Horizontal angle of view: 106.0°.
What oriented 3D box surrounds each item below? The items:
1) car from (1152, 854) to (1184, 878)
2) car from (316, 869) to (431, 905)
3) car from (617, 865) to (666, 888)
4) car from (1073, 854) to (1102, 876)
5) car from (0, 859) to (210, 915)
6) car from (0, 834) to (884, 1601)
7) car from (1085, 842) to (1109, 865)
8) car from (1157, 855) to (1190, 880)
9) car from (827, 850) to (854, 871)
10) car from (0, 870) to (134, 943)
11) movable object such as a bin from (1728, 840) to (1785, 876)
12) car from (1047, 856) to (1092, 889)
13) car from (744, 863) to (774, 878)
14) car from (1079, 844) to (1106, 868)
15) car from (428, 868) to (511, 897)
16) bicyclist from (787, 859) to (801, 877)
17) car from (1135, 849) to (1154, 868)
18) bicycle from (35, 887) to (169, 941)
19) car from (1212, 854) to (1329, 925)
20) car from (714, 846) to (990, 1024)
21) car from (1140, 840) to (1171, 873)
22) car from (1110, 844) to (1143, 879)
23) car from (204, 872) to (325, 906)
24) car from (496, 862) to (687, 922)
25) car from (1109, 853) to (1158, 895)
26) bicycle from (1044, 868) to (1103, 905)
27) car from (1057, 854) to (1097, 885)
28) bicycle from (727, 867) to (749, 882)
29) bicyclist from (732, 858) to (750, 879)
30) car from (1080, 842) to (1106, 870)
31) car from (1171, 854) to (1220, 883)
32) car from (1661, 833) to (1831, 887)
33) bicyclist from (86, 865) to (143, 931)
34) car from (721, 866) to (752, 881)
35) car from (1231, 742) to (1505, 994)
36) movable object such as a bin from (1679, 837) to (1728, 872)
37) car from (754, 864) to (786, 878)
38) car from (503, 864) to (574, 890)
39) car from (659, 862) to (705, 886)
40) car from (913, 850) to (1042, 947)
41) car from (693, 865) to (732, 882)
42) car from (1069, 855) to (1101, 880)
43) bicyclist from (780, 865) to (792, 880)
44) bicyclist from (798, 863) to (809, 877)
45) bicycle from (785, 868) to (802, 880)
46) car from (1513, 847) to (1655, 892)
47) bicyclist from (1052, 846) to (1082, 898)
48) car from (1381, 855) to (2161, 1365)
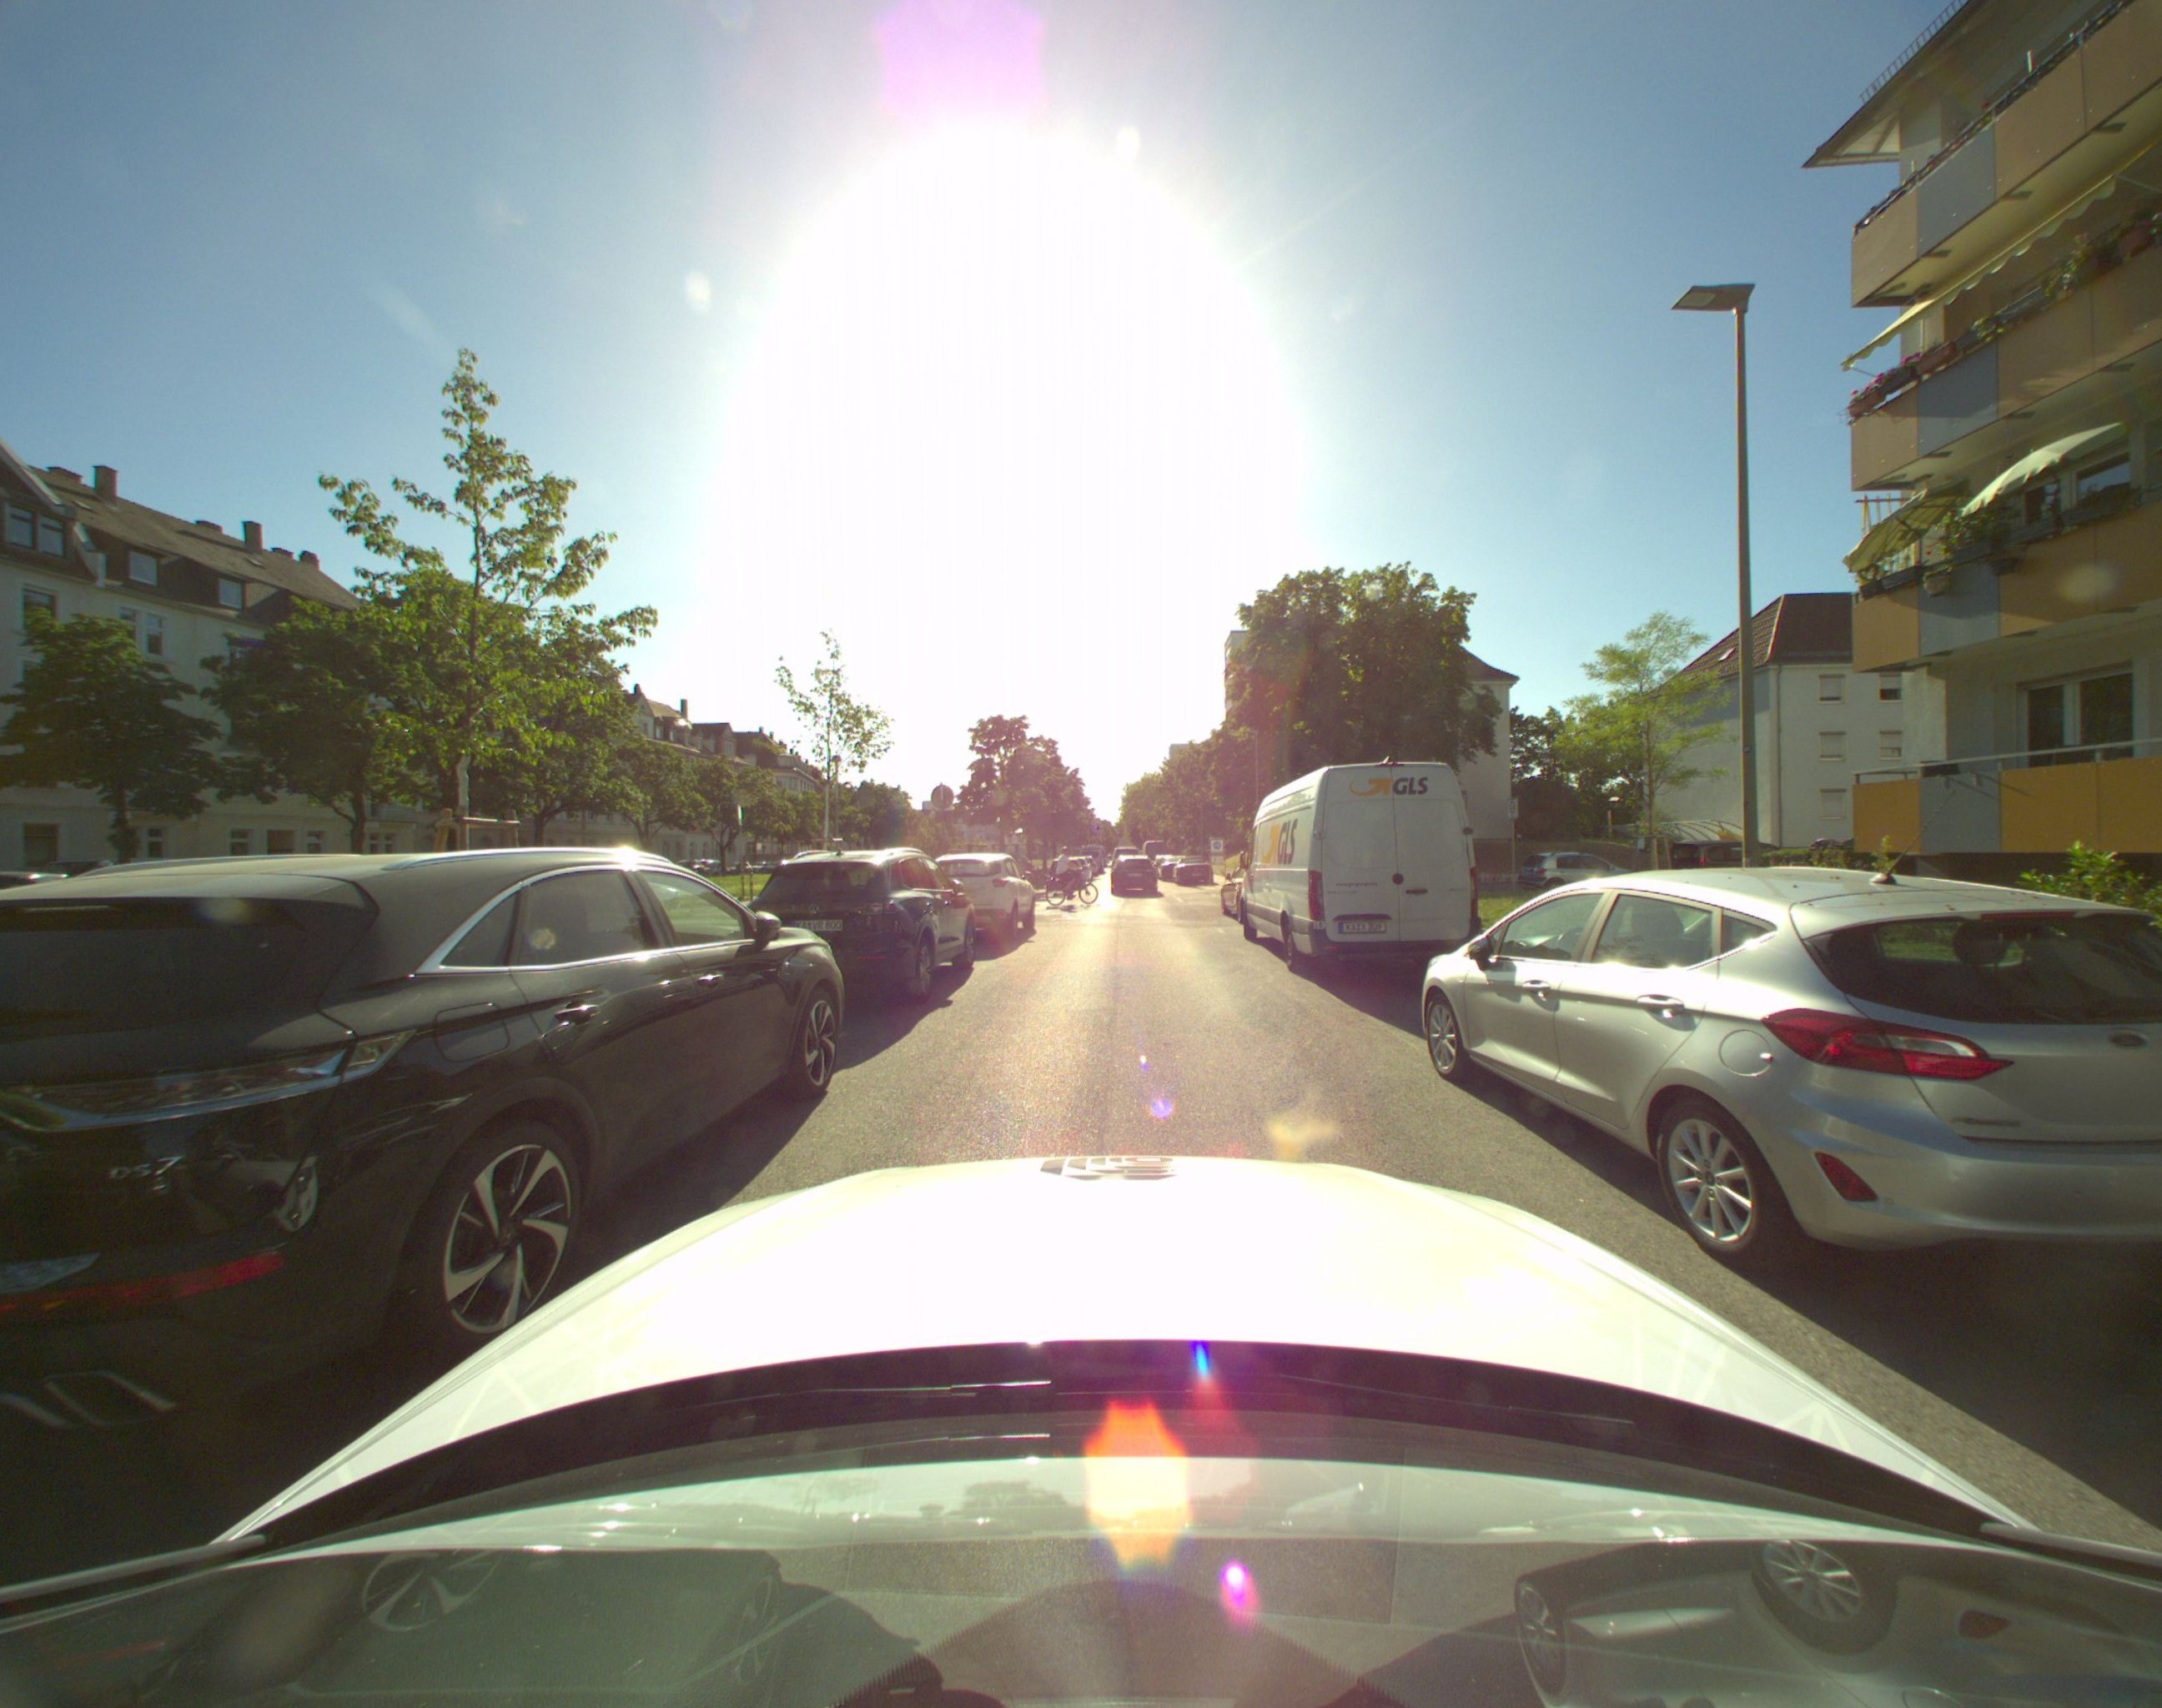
[{"bbox_3d":[5.772,0.767,54.584,1.773,1.487,4.033,-1,0,1],"label":"car"},{"bbox_3d":[-35.531,1.618,41.083,1.688,1.561,4.697,-1,0,0],"label":"car"},{"bbox_3d":[-34.572,1.755,64.220,1.626,1.686,4.081,-1,0,0],"label":"car"},{"bbox_3d":[0.522,0.803,60.988,1.825,1.500,4.131,-1,0,4],"label":"car"},{"bbox_3d":[-36.345,1.153,30.416,2.075,1.872,5.098,-1,0,0],"label":"car"},{"bbox_3d":[-2.622,0.800,4.117,1.812,1.610,4.742,-3,0,3],"label":"car"},{"bbox_3d":[2.069,-0.062,101.325,2.605,2.645,6.121,-1,0,4],"label":"car"},{"bbox_3d":[5.443,0.774,48.213,1.771,1.371,4.131,-1,0,4],"label":"car"},{"bbox_3d":[-32.774,0.874,111.030,1.909,2.744,5.624,-1,0,0],"label":"car"},{"bbox_3d":[-25.370,1.233,18.660,4.351,1.576,1.915,-1,0,-22],"label":"car"},{"bbox_3d":[29.026,0.169,35.026,1.256,1.478,1.498,-1,0,2],"label":"movable object such as a bin"},{"bbox_3d":[-0.480,0.864,38.745,1.740,1.425,3.920,-3,-1,4],"label":"car"},{"bbox_3d":[-38.824,1.952,98.190,1.853,1.749,4.002,-1,0,2],"label":"car"},{"bbox_3d":[0.984,0.198,69.452,2.090,1.942,4.130,-1,0,3],"label":"car"},{"bbox_3d":[-35.310,1.613,47.148,1.688,1.526,4.081,-1,0,0],"label":"car"},{"bbox_3d":[-30.317,1.469,85.998,0.938,1.837,1.450,-2,-1,1],"label":"bicyclist"},{"bbox_3d":[7.718,0.541,99.433,2.154,2.292,5.268,-1,0,2],"label":"car"},{"bbox_3d":[-25.870,1.551,21.589,2.166,1.258,0.706,-1,0,-41],"label":"bicycle"},{"bbox_3d":[4.510,0.776,20.093,1.951,1.481,4.501,-3,0,2],"label":"car"},{"bbox_3d":[-2.475,0.784,10.209,1.835,1.638,4.718,-3,0,3],"label":"car"},{"bbox_3d":[6.327,0.187,69.758,2.156,2.689,5.415,-1,0,0],"label":"car"},{"bbox_3d":[2.909,0.456,51.299,1.886,1.991,4.014,-3,0,4],"label":"car"},{"bbox_3d":[-35.742,1.503,35.777,1.688,1.279,3.526,-1,0,0],"label":"car"},{"bbox_3d":[-13.706,1.018,23.137,4.351,1.409,1.907,-1,2,-22],"label":"car"},{"bbox_3d":[2.078,0.733,31.916,1.771,1.531,4.004,0,0,4],"label":"car"},{"bbox_3d":[-0.237,1.016,25.722,1.765,1.127,0.659,-1,0,-18],"label":"bicycle"},{"bbox_3d":[-0.144,0.809,43.260,1.769,1.495,3.879,-3,-1,4],"label":"car"},{"bbox_3d":[-30.640,1.827,72.884,0.807,1.252,2.635,0,1,1],"label":"bicycle"},{"bbox_3d":[-30.597,1.315,73.215,0.938,1.837,1.450,-2,-1,2],"label":"bicyclist"},{"bbox_3d":[1.140,0.184,75.866,2.089,2.496,4.131,-1,0,4],"label":"car"},{"bbox_3d":[5.880,0.711,42.232,2.116,1.337,4.510,-3,0,4],"label":"car"},{"bbox_3d":[22.692,0.198,27.906,4.264,1.730,1.870,-1,0,2],"label":"car"},{"bbox_3d":[-25.750,1.151,21.717,0.884,1.690,0.624,-1,0,-42],"label":"bicyclist"},{"bbox_3d":[-33.896,1.898,80.236,1.374,1.440,3.345,-1,0,4],"label":"car"},{"bbox_3d":[3.803,0.154,12.457,2.133,2.713,6.849,-3,0,4],"label":"car"},{"bbox_3d":[29.017,0.021,38.016,1.182,1.613,1.464,-1,0,2],"label":"movable object such as a bin"},{"bbox_3d":[-33.707,1.790,88.294,1.838,1.440,3.777,-1,0,3],"label":"car"},{"bbox_3d":[-34.887,1.449,52.487,1.626,1.549,4.354,-1,0,0],"label":"car"},{"bbox_3d":[-34.341,1.686,70.266,1.730,1.908,4.461,-1,0,0],"label":"car"},{"bbox_3d":[-1.948,0.790,16.655,1.748,1.647,4.292,-3,0,4],"label":"car"},{"bbox_3d":[-34.102,1.762,75.551,1.686,1.429,3.778,-1,0,4],"label":"car"},{"bbox_3d":[0.286,0.811,51.185,1.771,1.461,4.131,-1,0,4],"label":"car"},{"bbox_3d":[-30.174,1.887,83.403,0.735,1.437,0.943,-5,-1,2],"label":"bicyclist"},{"bbox_3d":[-28.678,1.652,84.192,0.735,1.437,0.943,-2,-1,2],"label":"bicyclist"},{"bbox_3d":[-30.293,2.069,85.970,0.807,1.252,2.635,0,-1,1],"label":"bicycle"},{"bbox_3d":[17.241,0.509,28.023,3.876,1.429,1.658,-1,0,-1],"label":"car"},{"bbox_3d":[-0.445,0.559,25.649,0.791,1.596,0.692,-1,0,-17],"label":"bicyclist"},{"bbox_3d":[3.303,0.757,4.492,1.842,1.466,4.203,0,0,1],"label":"car"}]
